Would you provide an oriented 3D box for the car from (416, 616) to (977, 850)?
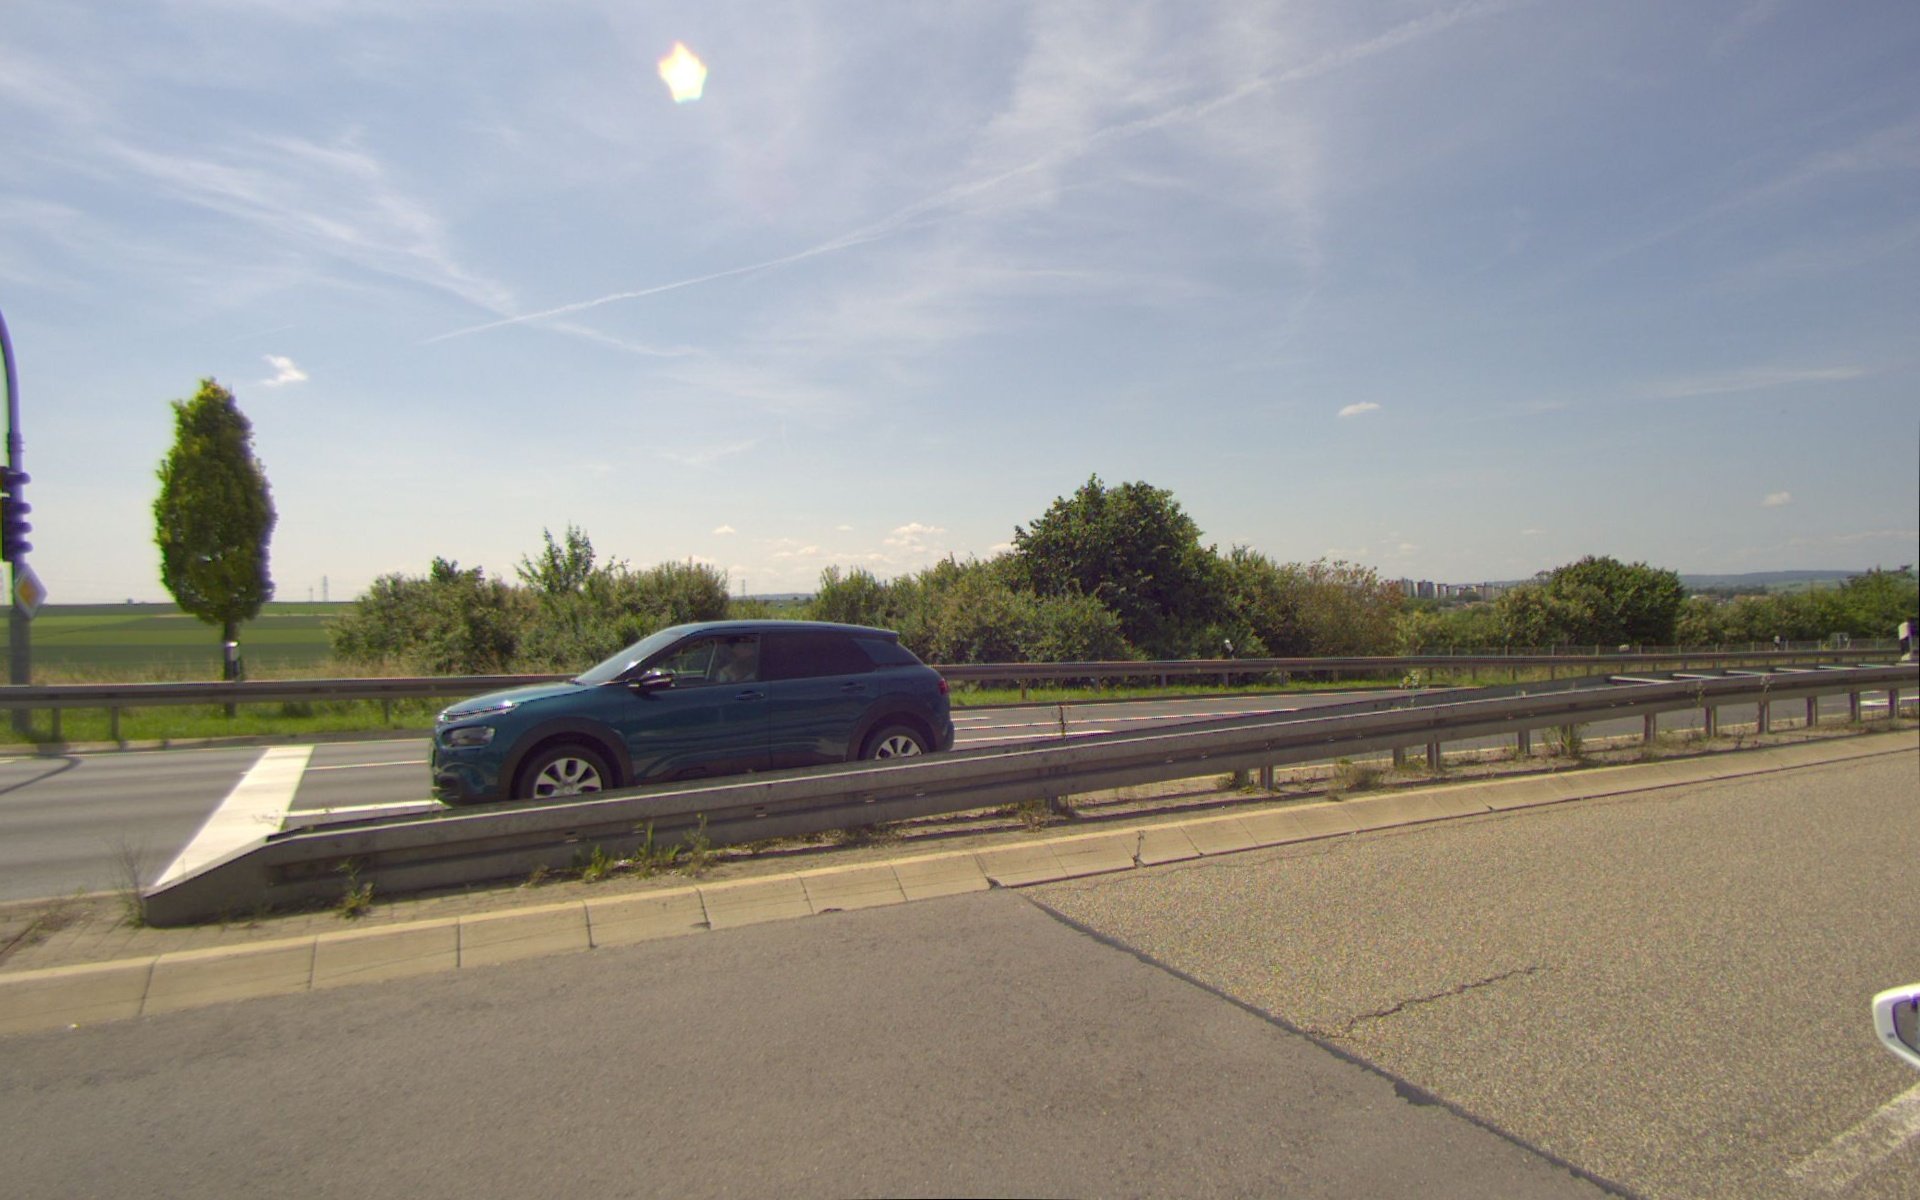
[{"bbox_3d":[-2.064,0.899,8.248,4.148,1.488,1.746,1,-2,-32],"label":"car"}]
